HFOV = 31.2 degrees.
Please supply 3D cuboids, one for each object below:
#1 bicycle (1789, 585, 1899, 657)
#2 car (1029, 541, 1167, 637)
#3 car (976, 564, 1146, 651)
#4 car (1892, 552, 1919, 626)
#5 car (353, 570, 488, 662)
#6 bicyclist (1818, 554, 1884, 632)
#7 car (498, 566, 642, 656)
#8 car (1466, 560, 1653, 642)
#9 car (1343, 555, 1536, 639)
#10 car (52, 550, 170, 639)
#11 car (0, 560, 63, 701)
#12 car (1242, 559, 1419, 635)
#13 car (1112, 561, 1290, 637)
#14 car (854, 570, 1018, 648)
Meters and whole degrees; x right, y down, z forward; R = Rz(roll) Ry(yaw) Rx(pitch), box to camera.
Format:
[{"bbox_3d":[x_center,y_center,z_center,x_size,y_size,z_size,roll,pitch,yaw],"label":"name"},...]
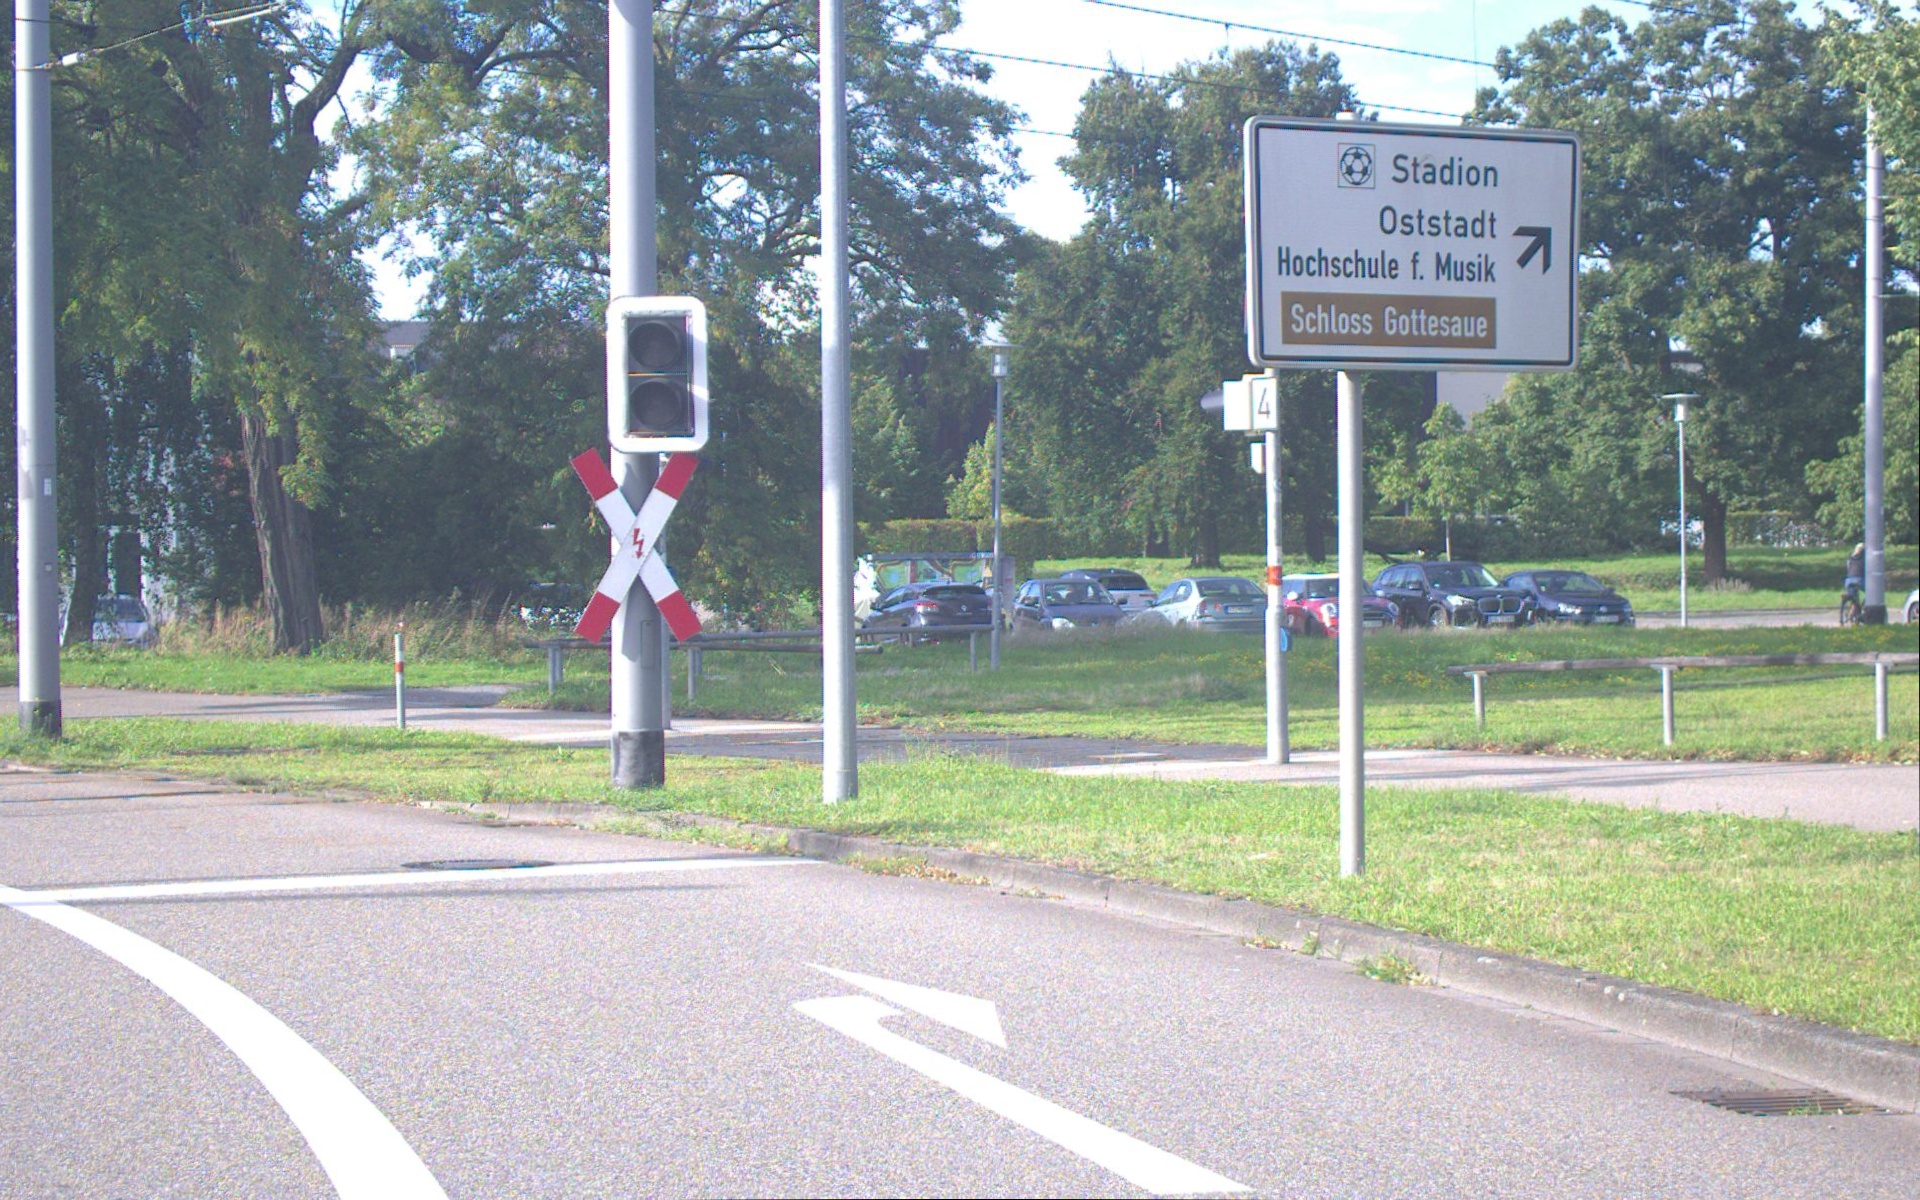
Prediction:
[{"bbox_3d":[15.683,0.362,60.949,0.714,1.218,2.522,0,1,44],"label":"bicycle"},{"bbox_3d":[3.012,-0.202,76.250,1.871,2.007,4.811,1,-1,-12],"label":"car"},{"bbox_3d":[1.810,0.114,63.399,1.854,1.510,4.749,-1,0,-15],"label":"car"},{"bbox_3d":[20.767,-0.236,68.544,1.854,1.510,4.470,-1,1,-22],"label":"car"},{"bbox_3d":[-9.455,0.259,60.004,1.854,1.510,4.735,-1,0,-15],"label":"car"},{"bbox_3d":[15.811,-0.126,60.995,0.714,1.350,1.003,0,1,44],"label":"bicyclist"},{"bbox_3d":[-6.934,0.173,60.729,1.854,1.510,4.735,-1,0,-15],"label":"car"},{"bbox_3d":[11.520,0.003,66.361,1.854,1.510,4.470,-1,0,-15],"label":"car"},{"bbox_3d":[9.075,-0.074,65.451,1.854,1.510,4.946,-1,0,-15],"label":"car"},{"bbox_3d":[-14.601,-0.100,59.012,1.854,1.435,4.735,-1,0,-15],"label":"car"},{"bbox_3d":[-11.636,0.300,35.197,4.644,1.426,1.902,0,0,-18],"label":"car"},{"bbox_3d":[6.967,-0.064,65.070,1.854,1.358,4.470,-1,0,-15],"label":"car"},{"bbox_3d":[4.470,-0.032,64.527,1.854,1.353,4.835,-1,0,-15],"label":"car"},{"bbox_3d":[-0.490,0.145,62.667,1.854,1.354,4.735,-1,0,-15],"label":"car"}]
